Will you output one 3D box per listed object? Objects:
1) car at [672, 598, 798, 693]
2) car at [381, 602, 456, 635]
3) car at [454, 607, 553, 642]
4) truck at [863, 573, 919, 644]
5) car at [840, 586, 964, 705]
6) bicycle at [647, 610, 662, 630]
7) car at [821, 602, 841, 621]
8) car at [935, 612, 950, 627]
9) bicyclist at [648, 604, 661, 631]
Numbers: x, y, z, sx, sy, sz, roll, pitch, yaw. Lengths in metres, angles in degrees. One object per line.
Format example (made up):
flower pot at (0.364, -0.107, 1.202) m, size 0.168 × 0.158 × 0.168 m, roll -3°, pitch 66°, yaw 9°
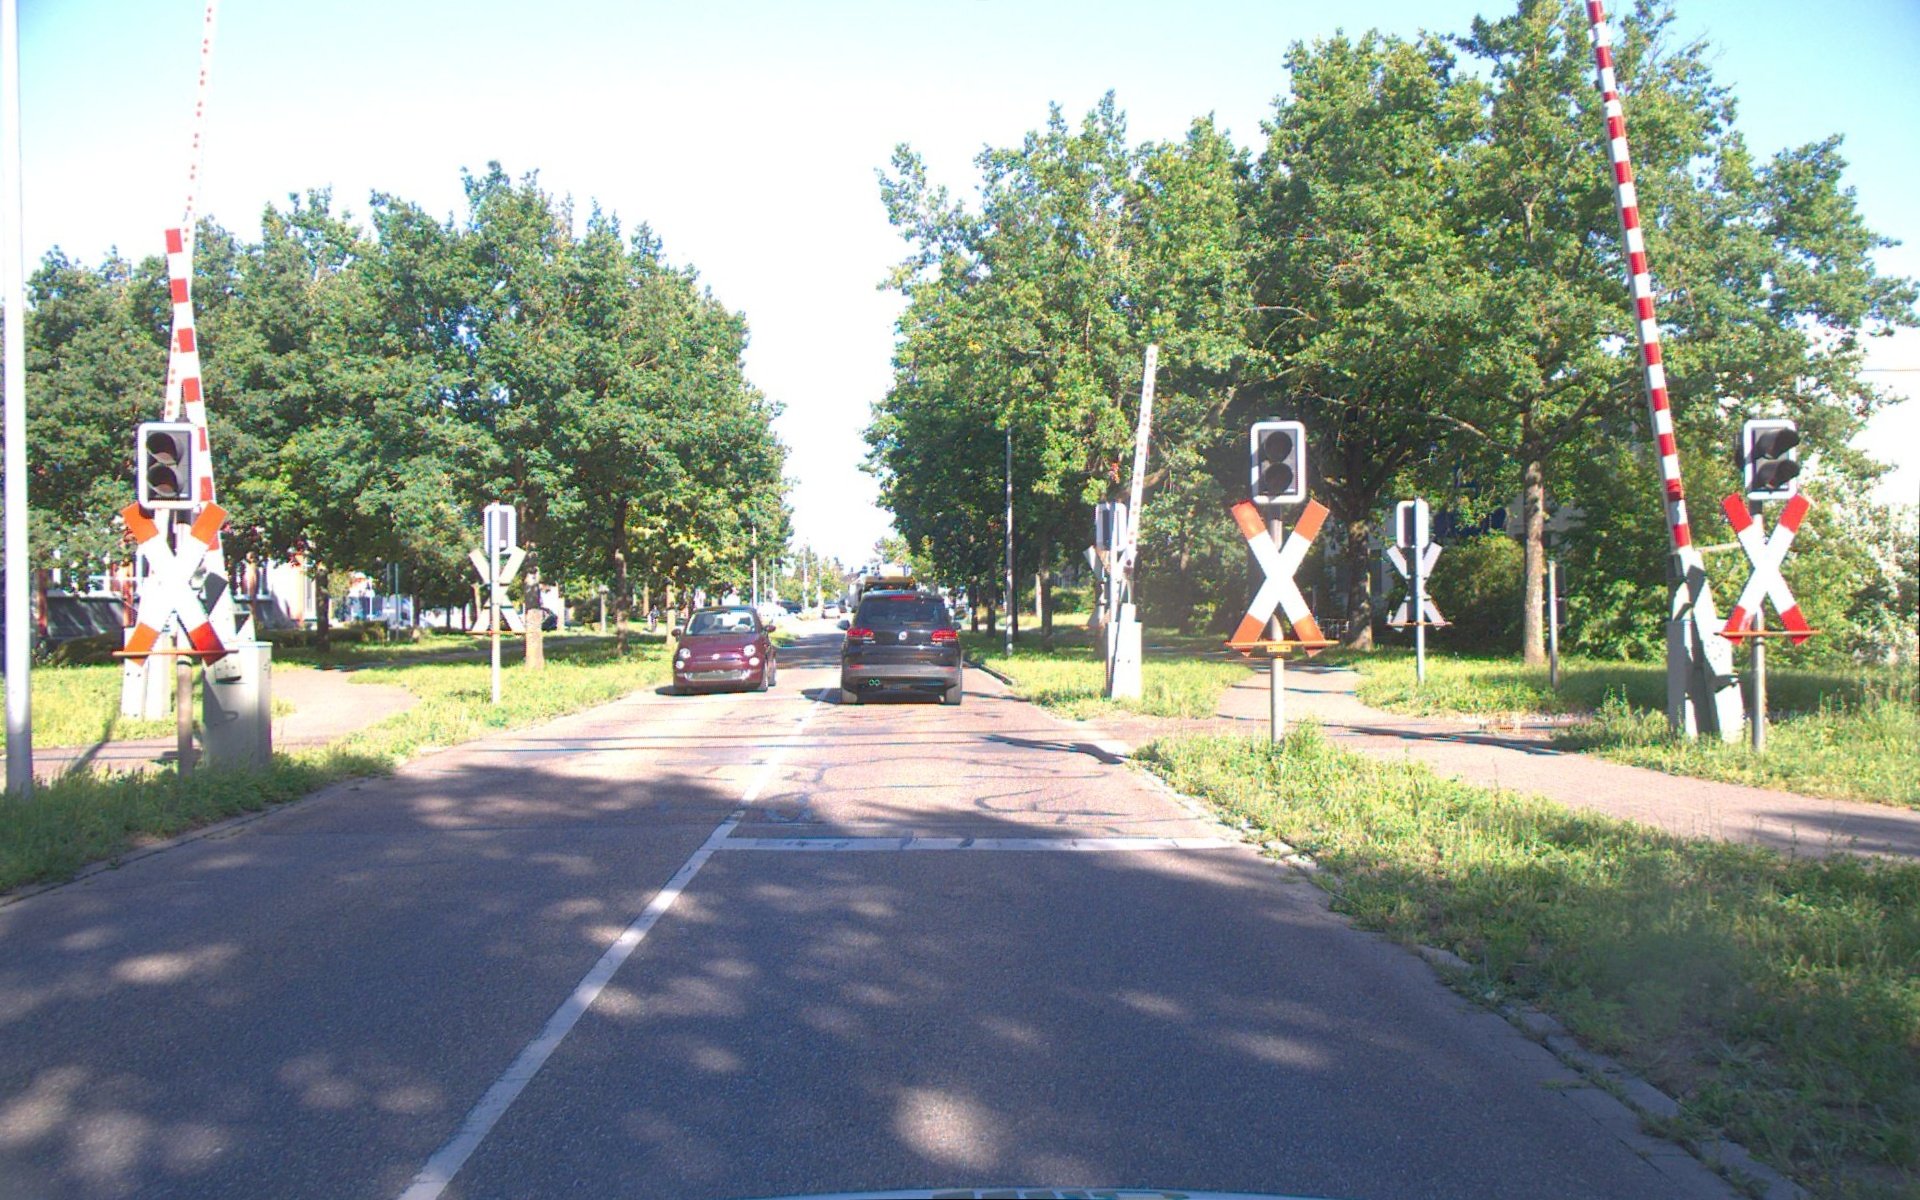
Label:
car at (-3.949, 0.766, 29.580) m, size 1.533 × 1.531 × 4.001 m, roll -2°, pitch 0°, yaw 2°
car at (-28.853, 0.982, 88.191) m, size 3.289 × 1.671 × 2.001 m, roll 1°, pitch 0°, yaw 3°
car at (-27.962, 1.495, 101.487) m, size 5.689 × 2.049 × 1.994 m, roll 1°, pitch 0°, yaw -13°
truck at (-3.327, 0.404, 81.446) m, size 2.461 × 3.300 × 8.151 m, roll -1°, pitch 0°, yaw -1°
car at (-0.834, 0.648, 25.583) m, size 1.746 × 1.662 × 3.999 m, roll 1°, pitch 0°, yaw 0°
bicycle at (-21.127, 1.352, 114.449) m, size 0.703 × 1.344 × 1.990 m, roll 1°, pitch 0°, yaw -3°
car at (-14.351, 1.306, 183.851) m, size 1.956 × 2.049 × 3.993 m, roll 1°, pitch 0°, yaw -8°
car at (-1.745, 1.942, 165.344) m, size 1.423 × 1.430 × 2.854 m, roll 1°, pitch 0°, yaw -2°
bicyclist at (-21.127, 1.191, 114.392) m, size 0.672 × 1.863 × 0.933 m, roll 1°, pitch 0°, yaw -3°
